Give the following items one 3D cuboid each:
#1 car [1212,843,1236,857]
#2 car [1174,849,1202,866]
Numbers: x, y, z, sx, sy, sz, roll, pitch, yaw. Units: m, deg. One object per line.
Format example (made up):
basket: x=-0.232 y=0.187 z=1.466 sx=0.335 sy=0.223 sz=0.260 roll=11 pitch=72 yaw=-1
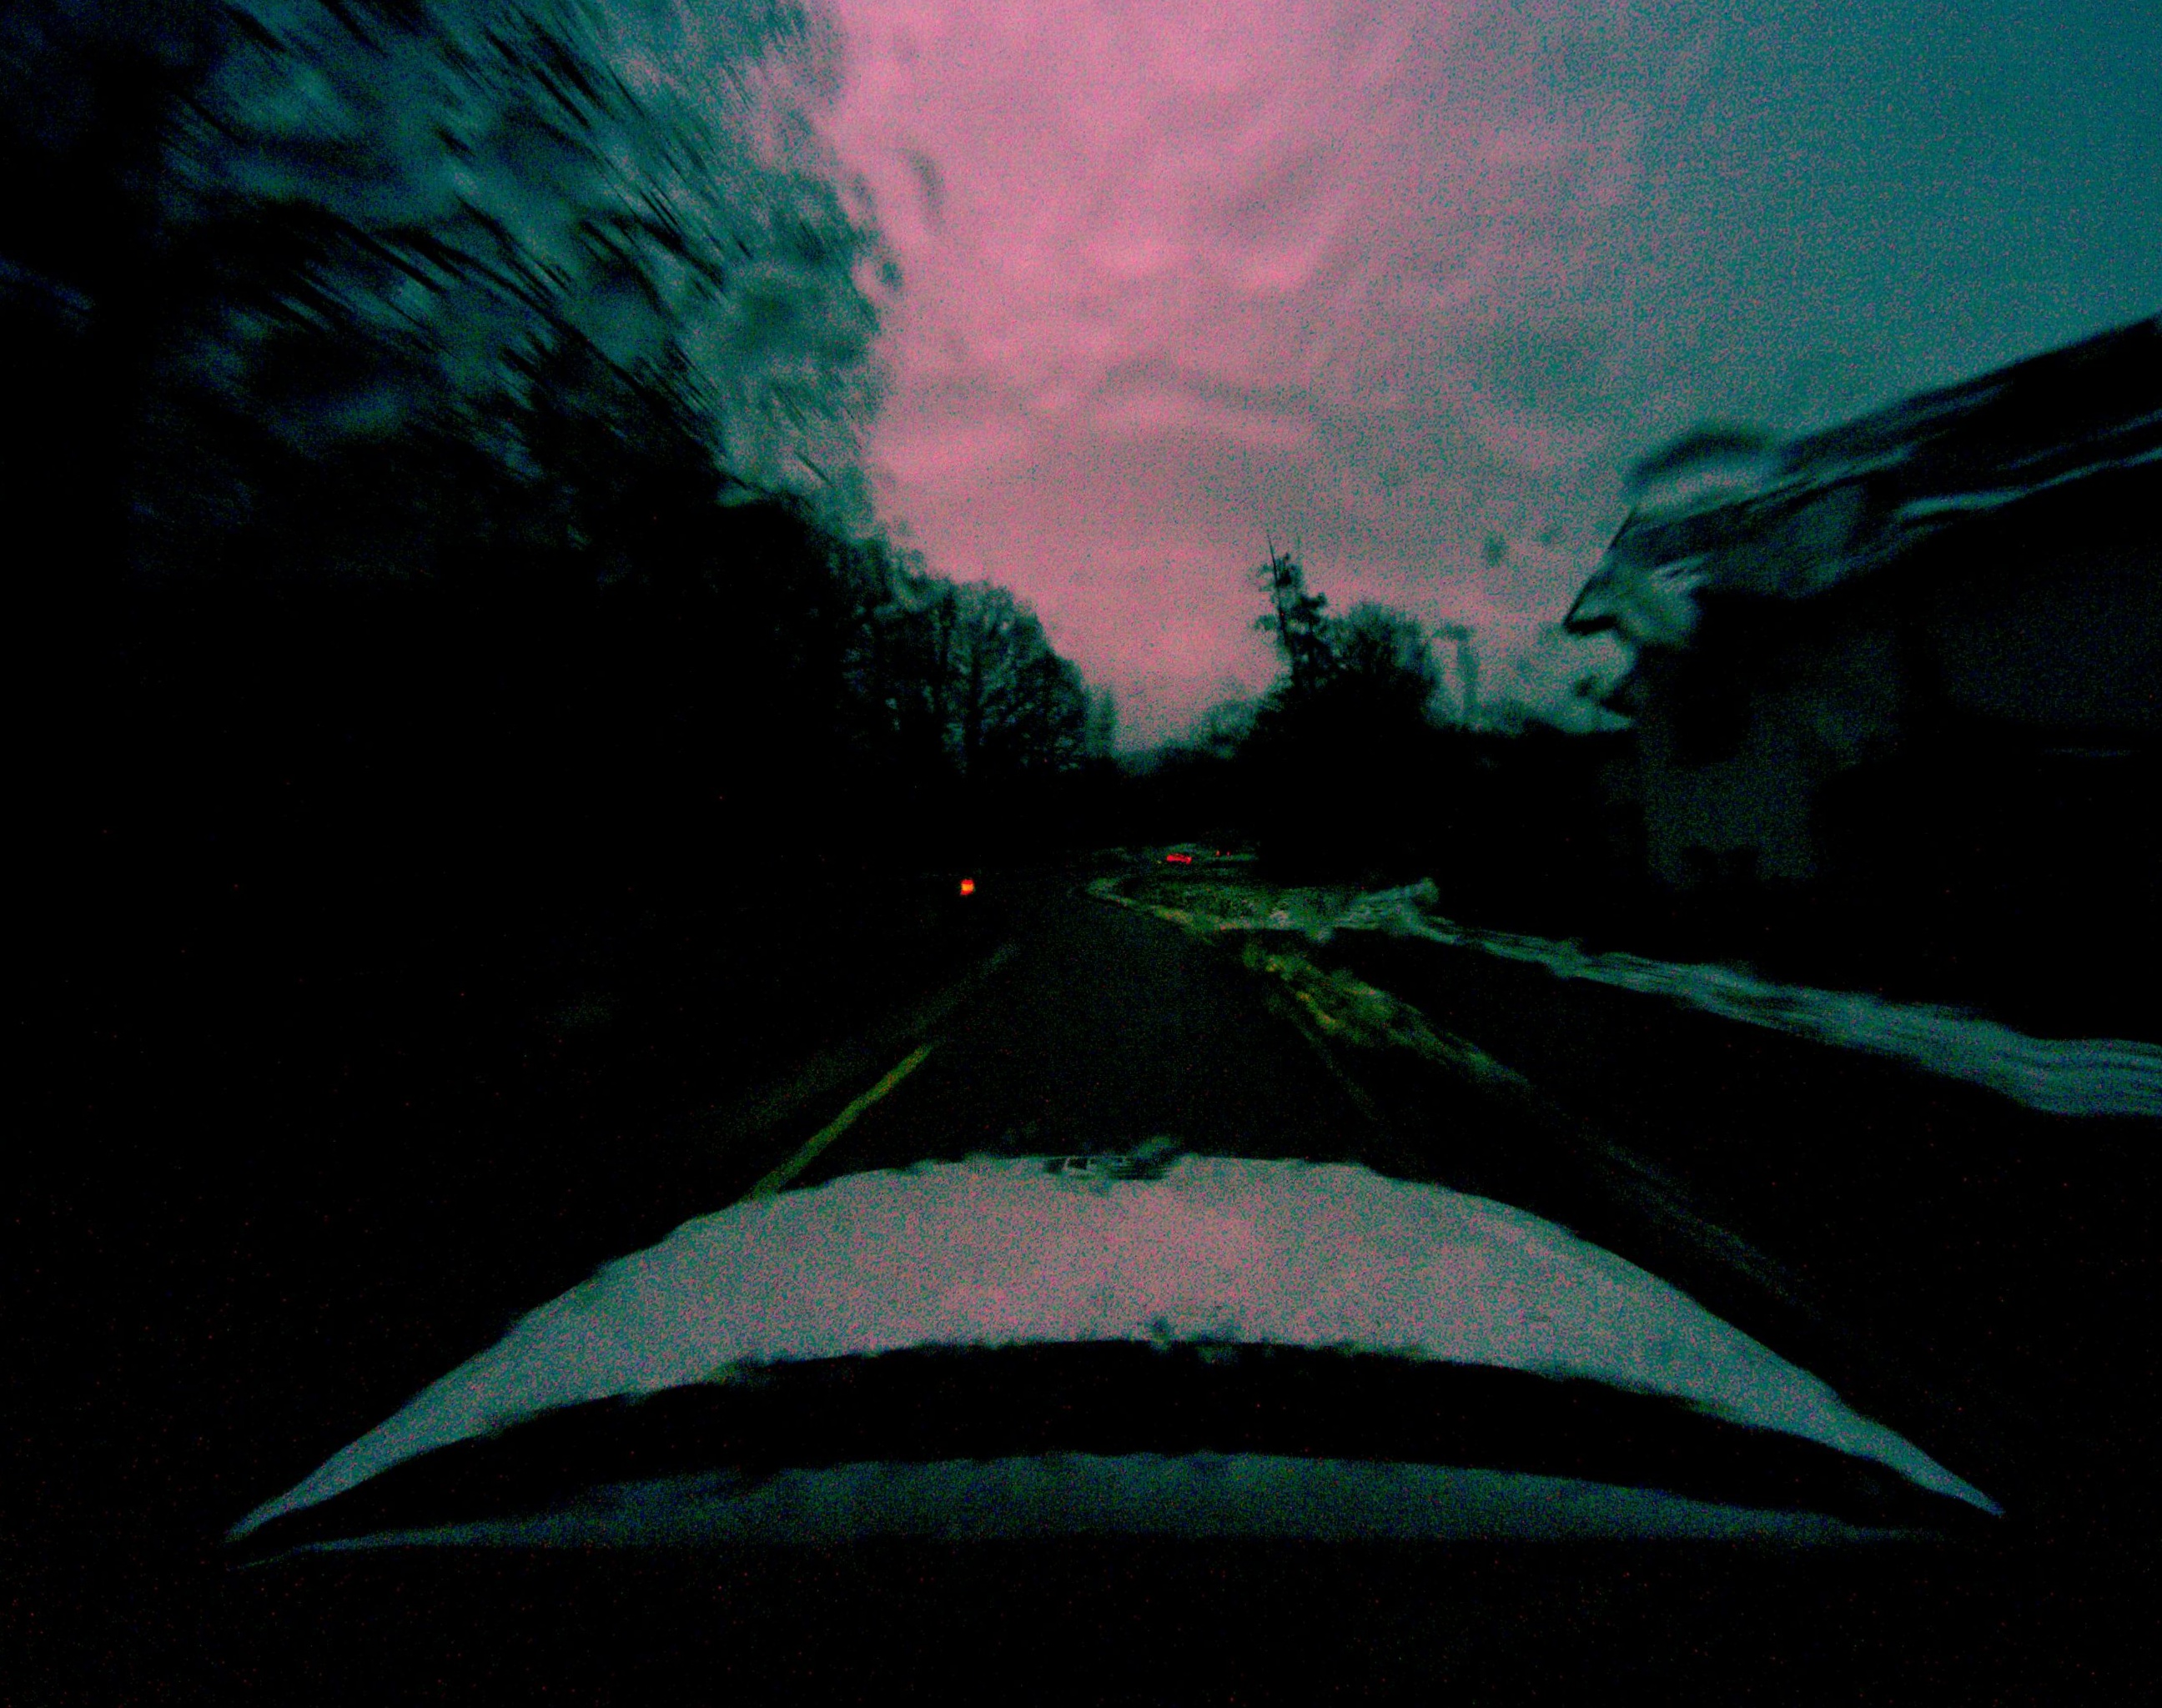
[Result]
car: x=17.382 y=-0.515 z=98.703 sx=1.915 sy=1.676 sz=4.023 roll=-1 pitch=0 yaw=24
car: x=11.441 y=0.337 z=86.694 sx=1.916 sy=1.781 sz=4.022 roll=-1 pitch=0 yaw=23
